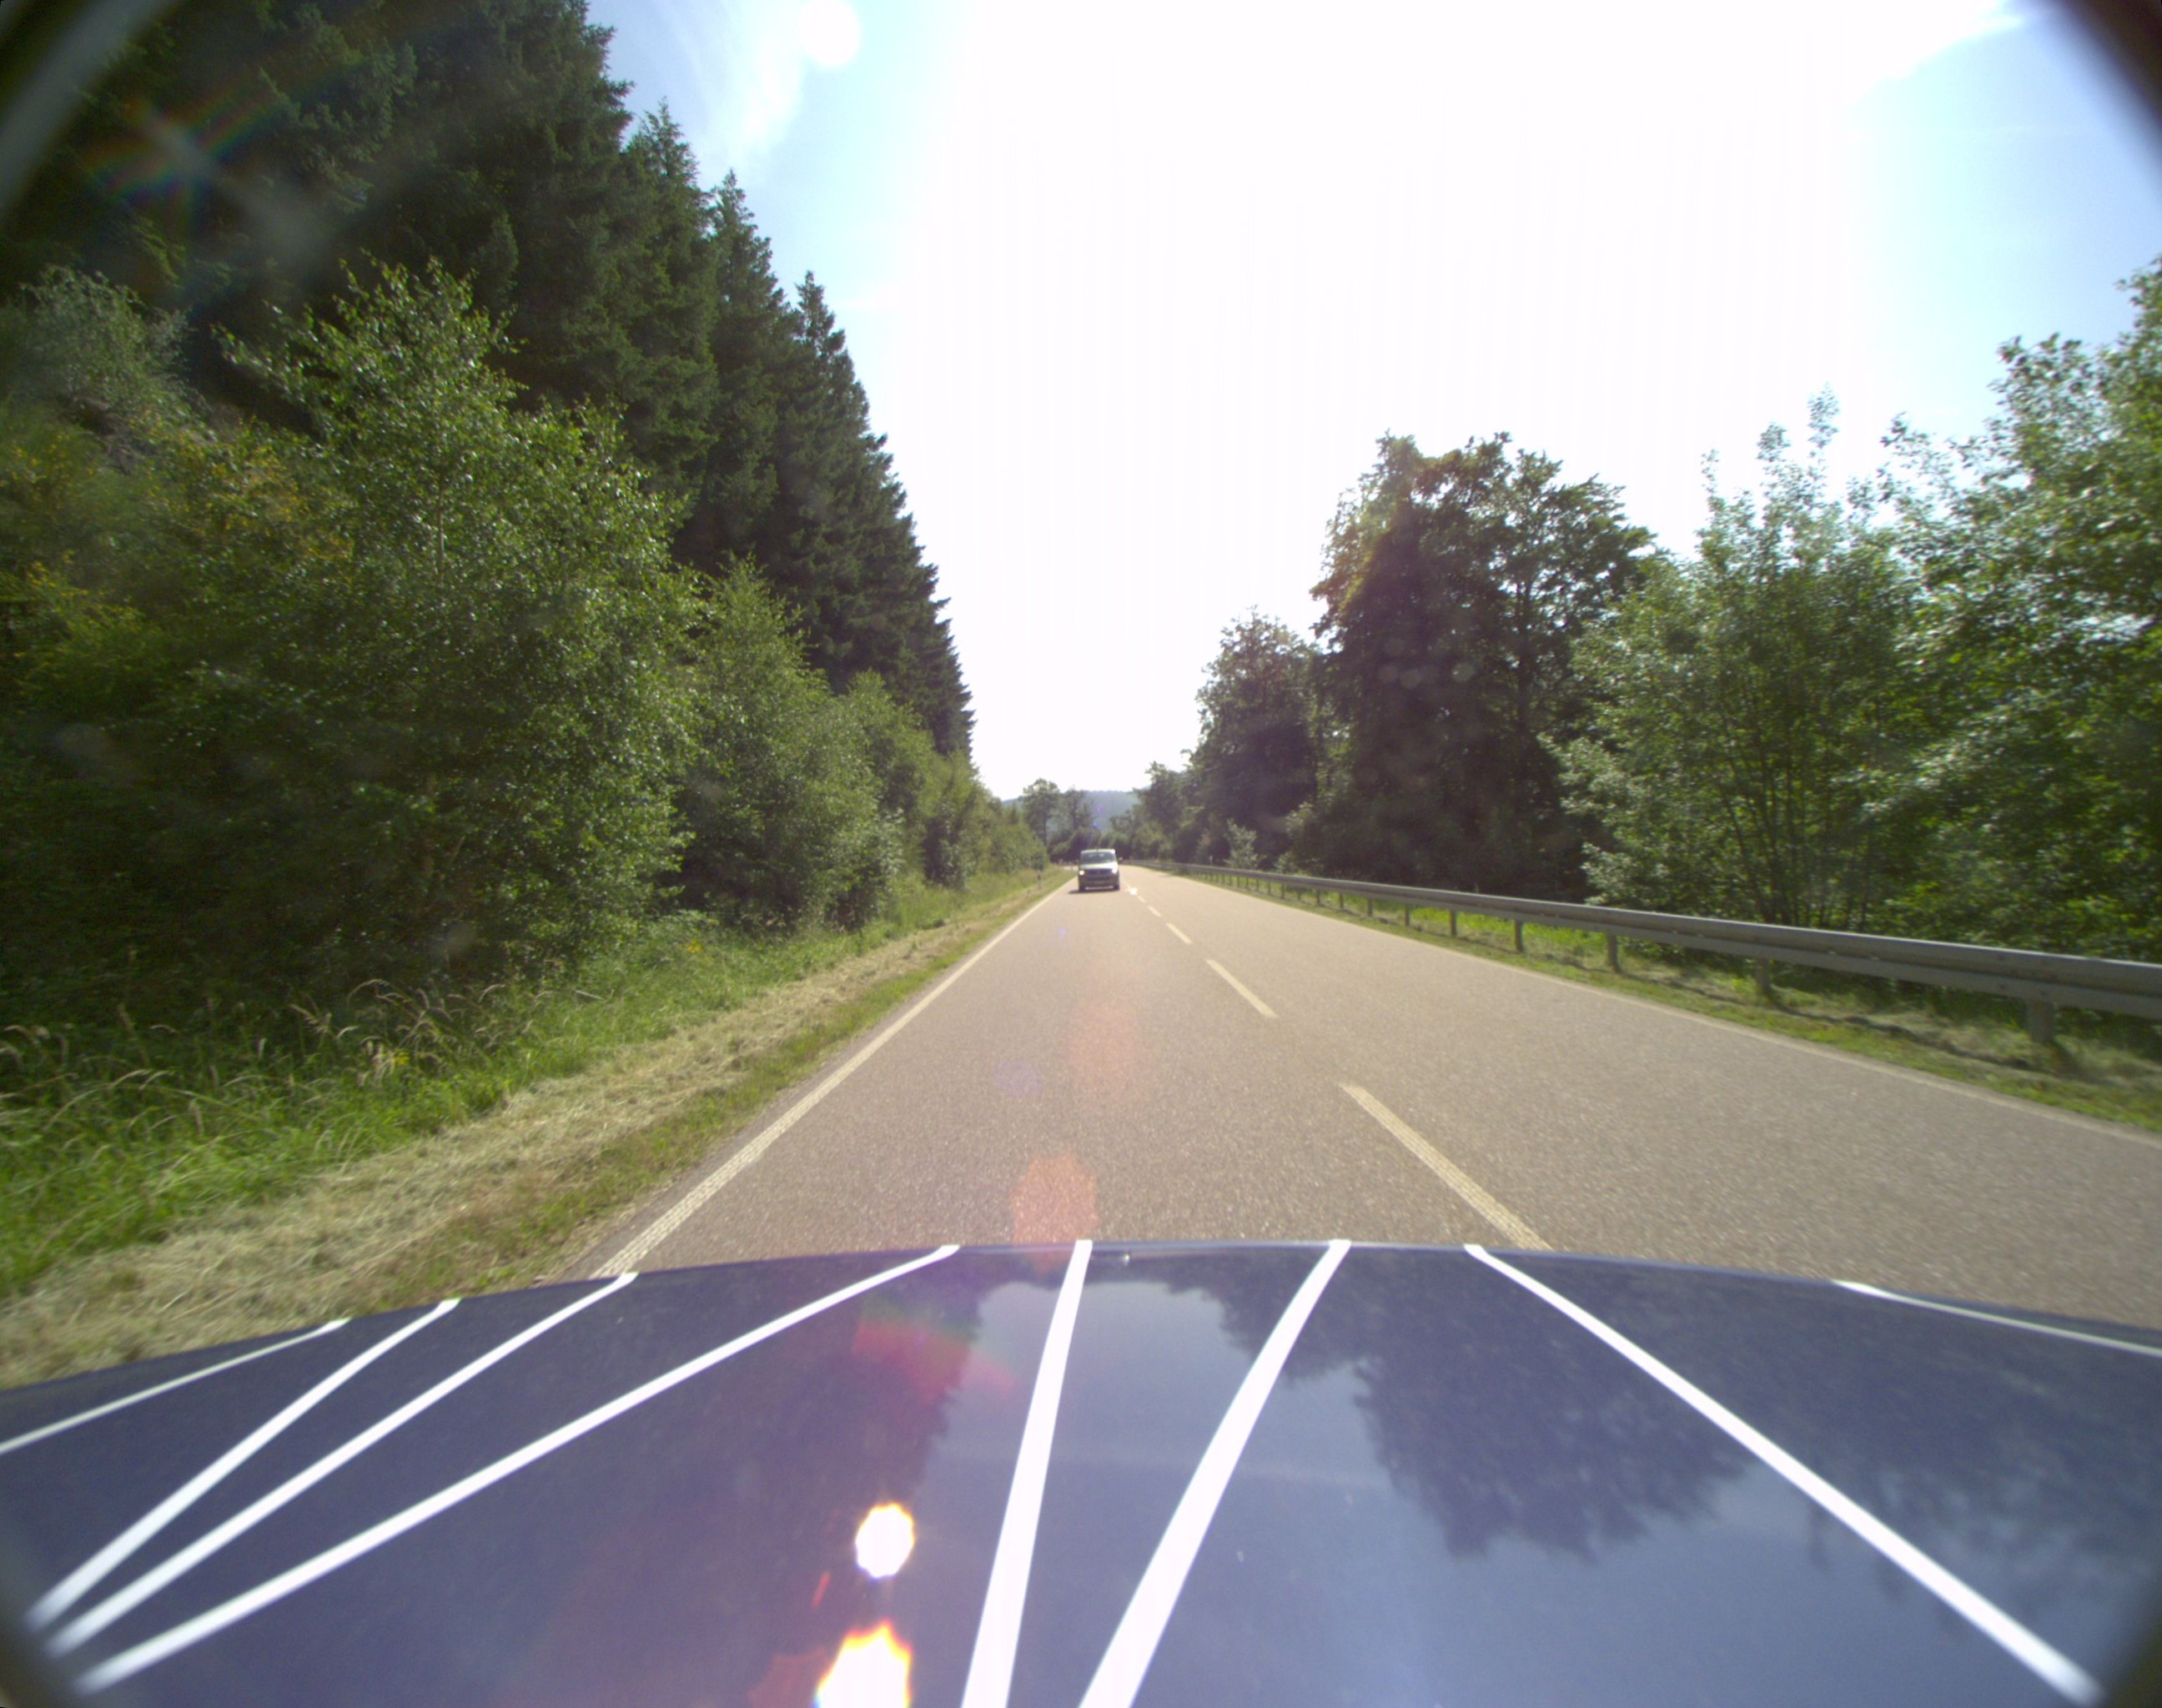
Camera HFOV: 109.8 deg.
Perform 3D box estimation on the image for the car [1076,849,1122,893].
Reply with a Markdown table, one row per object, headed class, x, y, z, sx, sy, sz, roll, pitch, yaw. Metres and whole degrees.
| class | x | y | z | sx | sy | sz | roll | pitch | yaw |
| --- | --- | --- | --- | --- | --- | --- | --- | --- | --- |
| car | 0.928 | 0.757 | 36.184 | 1.990 | 1.899 | 4.761 | -2 | 0 | 3 |
